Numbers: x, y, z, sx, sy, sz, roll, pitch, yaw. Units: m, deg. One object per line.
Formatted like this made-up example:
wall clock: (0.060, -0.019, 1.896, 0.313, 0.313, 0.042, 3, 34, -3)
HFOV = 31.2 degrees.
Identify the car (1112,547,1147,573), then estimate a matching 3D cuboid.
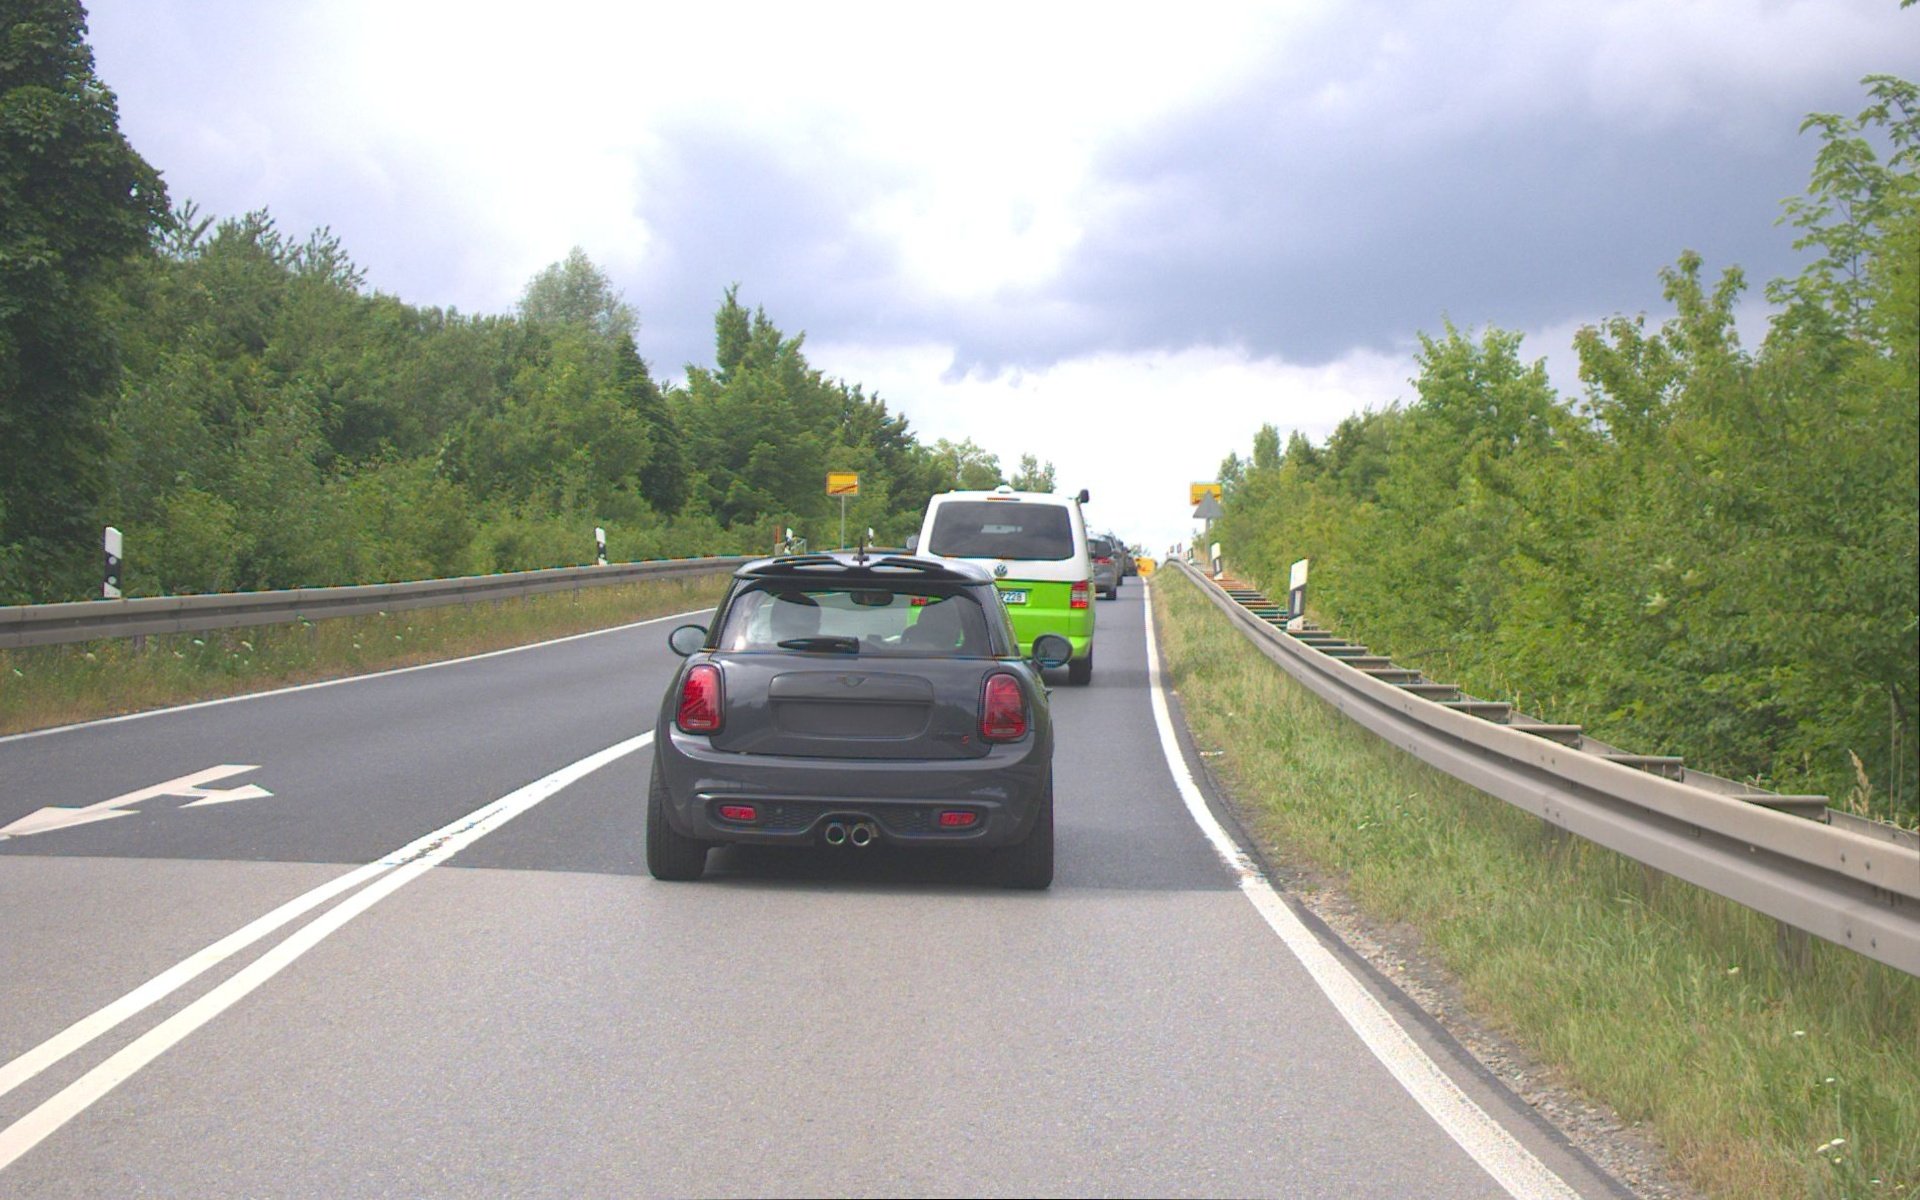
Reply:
car: (8.947, -2.117, 181.717, 1.695, 1.315, 4.000, 0, 1, 5)

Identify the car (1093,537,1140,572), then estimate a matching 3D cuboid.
car: (6.166, -1.795, 135.351, 1.695, 1.315, 4.000, 0, 1, 5)

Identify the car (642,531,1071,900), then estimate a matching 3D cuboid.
car: (-0.502, 0.438, 16.116, 1.732, 1.451, 4.001, 1, 2, -2)

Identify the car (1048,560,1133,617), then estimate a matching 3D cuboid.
car: (2.934, -0.273, 76.525, 1.695, 1.218, 3.999, 0, 1, 5)

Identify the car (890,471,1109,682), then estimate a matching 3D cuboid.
car: (0.476, -0.277, 35.975, 2.022, 2.006, 4.000, 2, 1, 3)

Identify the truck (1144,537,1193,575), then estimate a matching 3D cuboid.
truck: (13.673, -2.913, 224.912, 2.910, 2.364, 10.450, -1, 1, 5)
